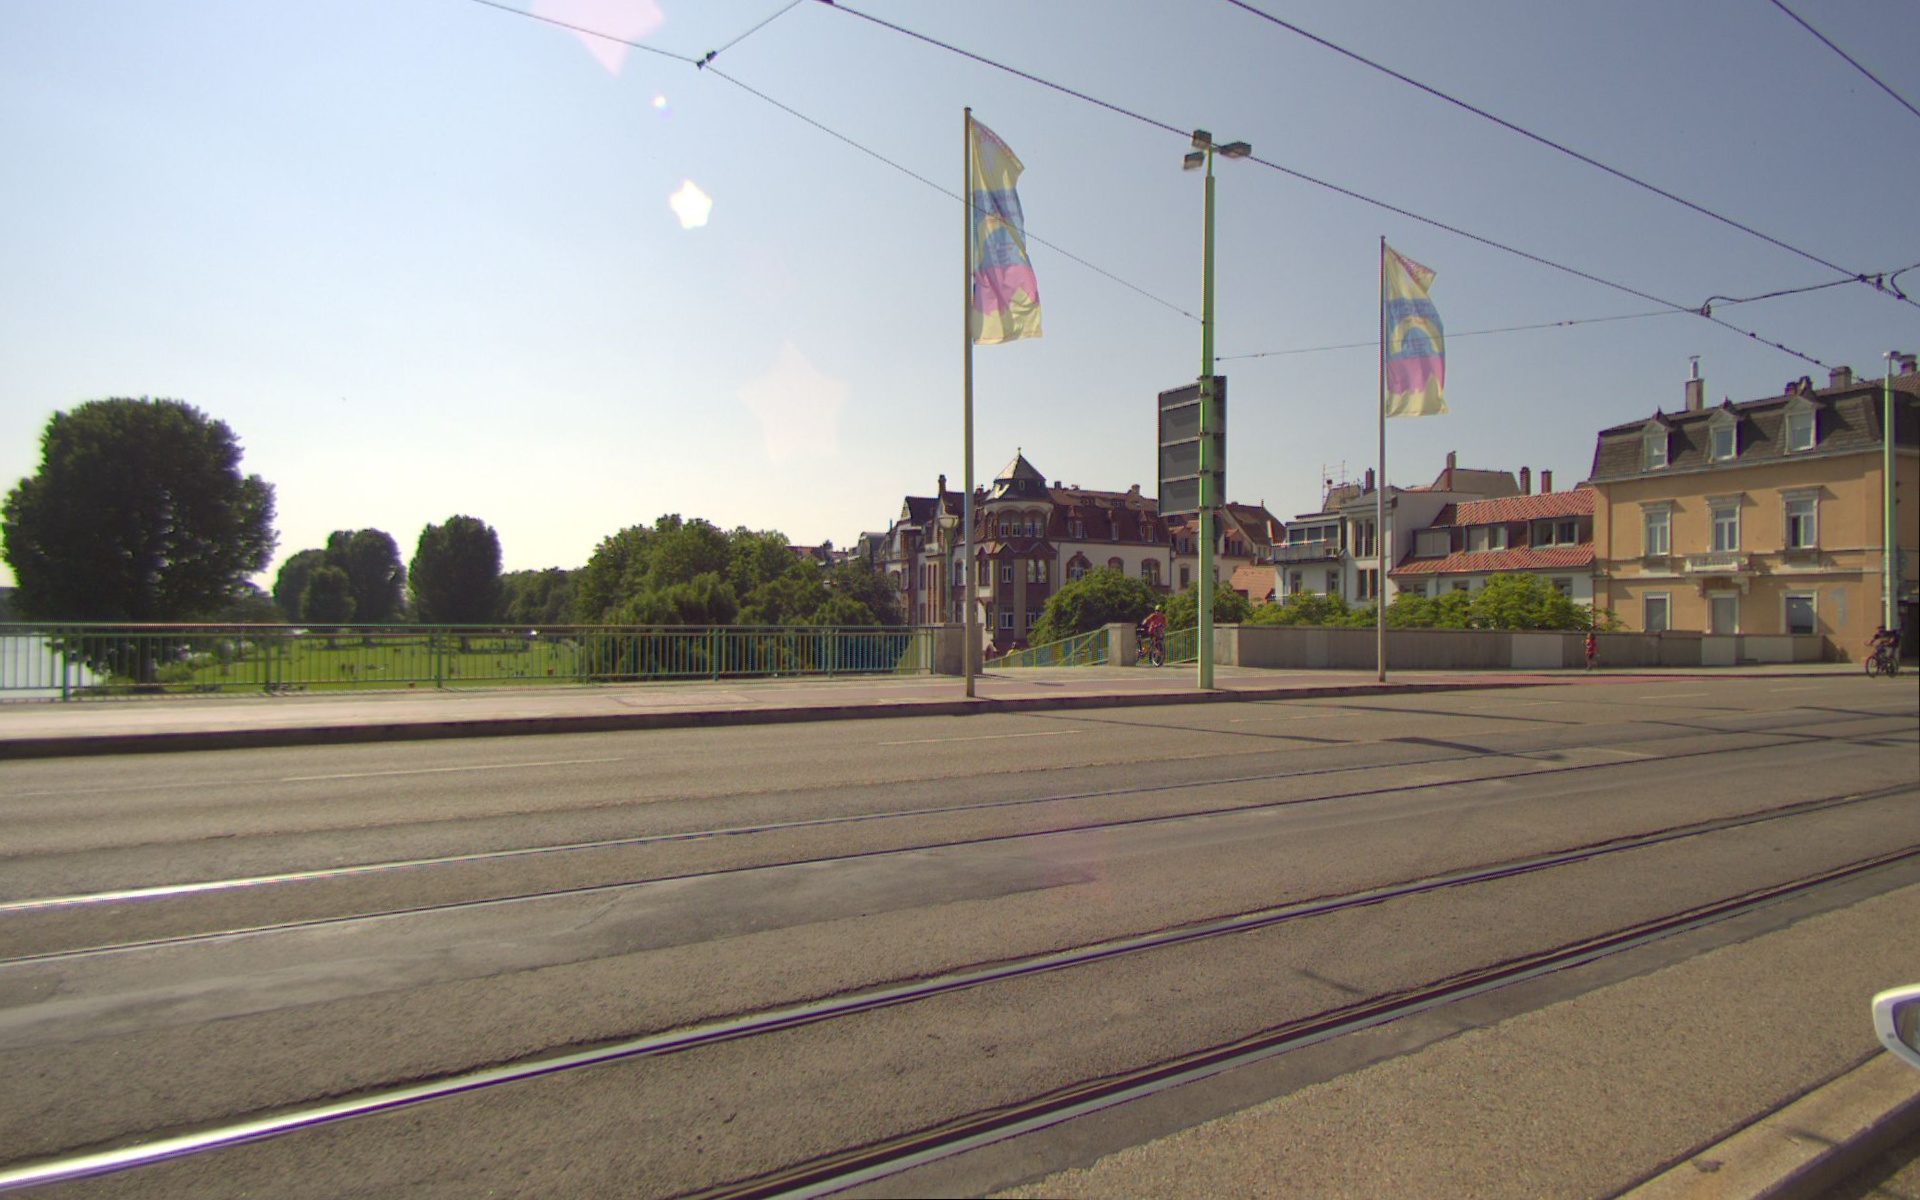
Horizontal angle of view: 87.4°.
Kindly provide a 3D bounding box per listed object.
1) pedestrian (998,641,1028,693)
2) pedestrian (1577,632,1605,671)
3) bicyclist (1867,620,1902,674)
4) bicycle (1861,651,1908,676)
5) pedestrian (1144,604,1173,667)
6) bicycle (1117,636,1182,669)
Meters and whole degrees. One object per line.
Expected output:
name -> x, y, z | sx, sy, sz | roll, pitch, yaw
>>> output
pedestrian -> 1.877, 2.368, 35.572 | 0.790, 1.804, 0.743 | 1, -1, -24
pedestrian -> 19.372, 1.586, 30.853 | 0.536, 1.161, 0.411 | 2, 3, -21
bicyclist -> 29.505, 1.482, 32.048 | 0.614, 1.672, 0.624 | 0, 2, -29
bicycle -> 29.526, 2.019, 32.066 | 1.750, 0.726, 0.617 | 0, 1, -30
pedestrian -> 5.336, 0.938, 26.980 | 0.408, 1.654, 0.623 | 1, 2, -29
bicycle -> 4.986, 1.375, 26.497 | 0.614, 0.726, 1.919 | 0, 1, -28
